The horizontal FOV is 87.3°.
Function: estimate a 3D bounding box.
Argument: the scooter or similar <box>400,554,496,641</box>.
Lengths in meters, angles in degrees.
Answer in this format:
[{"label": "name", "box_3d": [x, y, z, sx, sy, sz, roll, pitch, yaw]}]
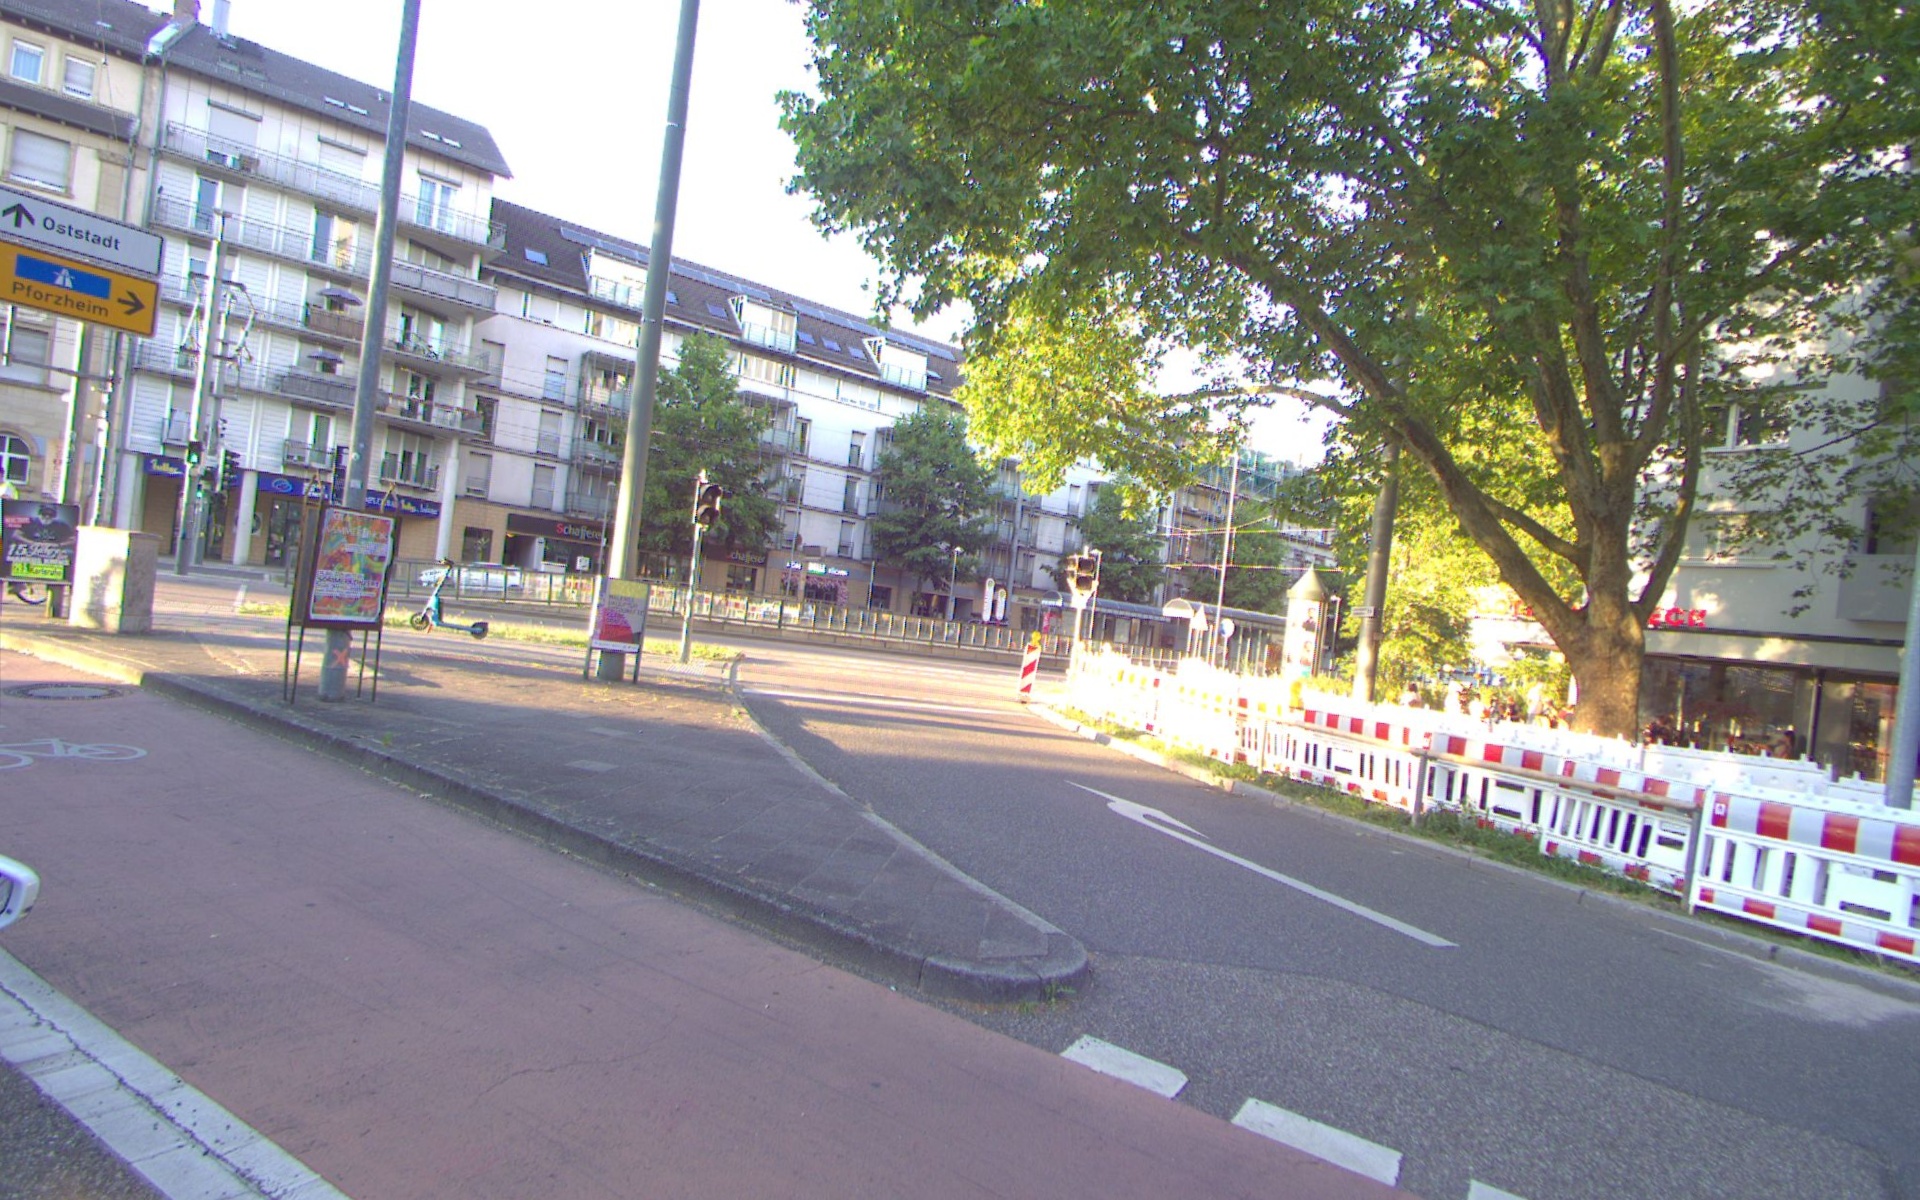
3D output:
[{"label": "scooter or similar", "box_3d": [-8.387, -0.035, 16.518, 1.217, 1.264, 0.513, 7, -1, -19]}]

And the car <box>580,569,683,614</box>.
[{"label": "car", "box_3d": [-14.941, -0.387, 45.853, 3.970, 1.503, 1.830, 9, -3, -39]}]

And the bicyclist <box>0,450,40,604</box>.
[{"label": "bicyclist", "box_3d": [-11.944, -0.921, 12.243, 0.617, 1.845, 0.699, 7, -1, 0]}]

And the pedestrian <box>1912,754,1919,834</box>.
[{"label": "pedestrian", "box_3d": [15.689, 2.955, 15.836, 0.733, 1.607, 0.641, 6, -1, 25]}]

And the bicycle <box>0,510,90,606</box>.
[{"label": "bicycle", "box_3d": [-11.986, -0.556, 12.391, 0.617, 1.122, 2.073, 7, -2, 0]}]

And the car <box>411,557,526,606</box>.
[{"label": "car", "box_3d": [-20.423, -0.759, 41.869, 3.964, 1.503, 1.833, 9, -2, -34]}]

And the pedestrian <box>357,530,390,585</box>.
[{"label": "pedestrian", "box_3d": [-25.083, -1.808, 43.025, 0.864, 2.234, 0.812, 8, -1, -39]}]
